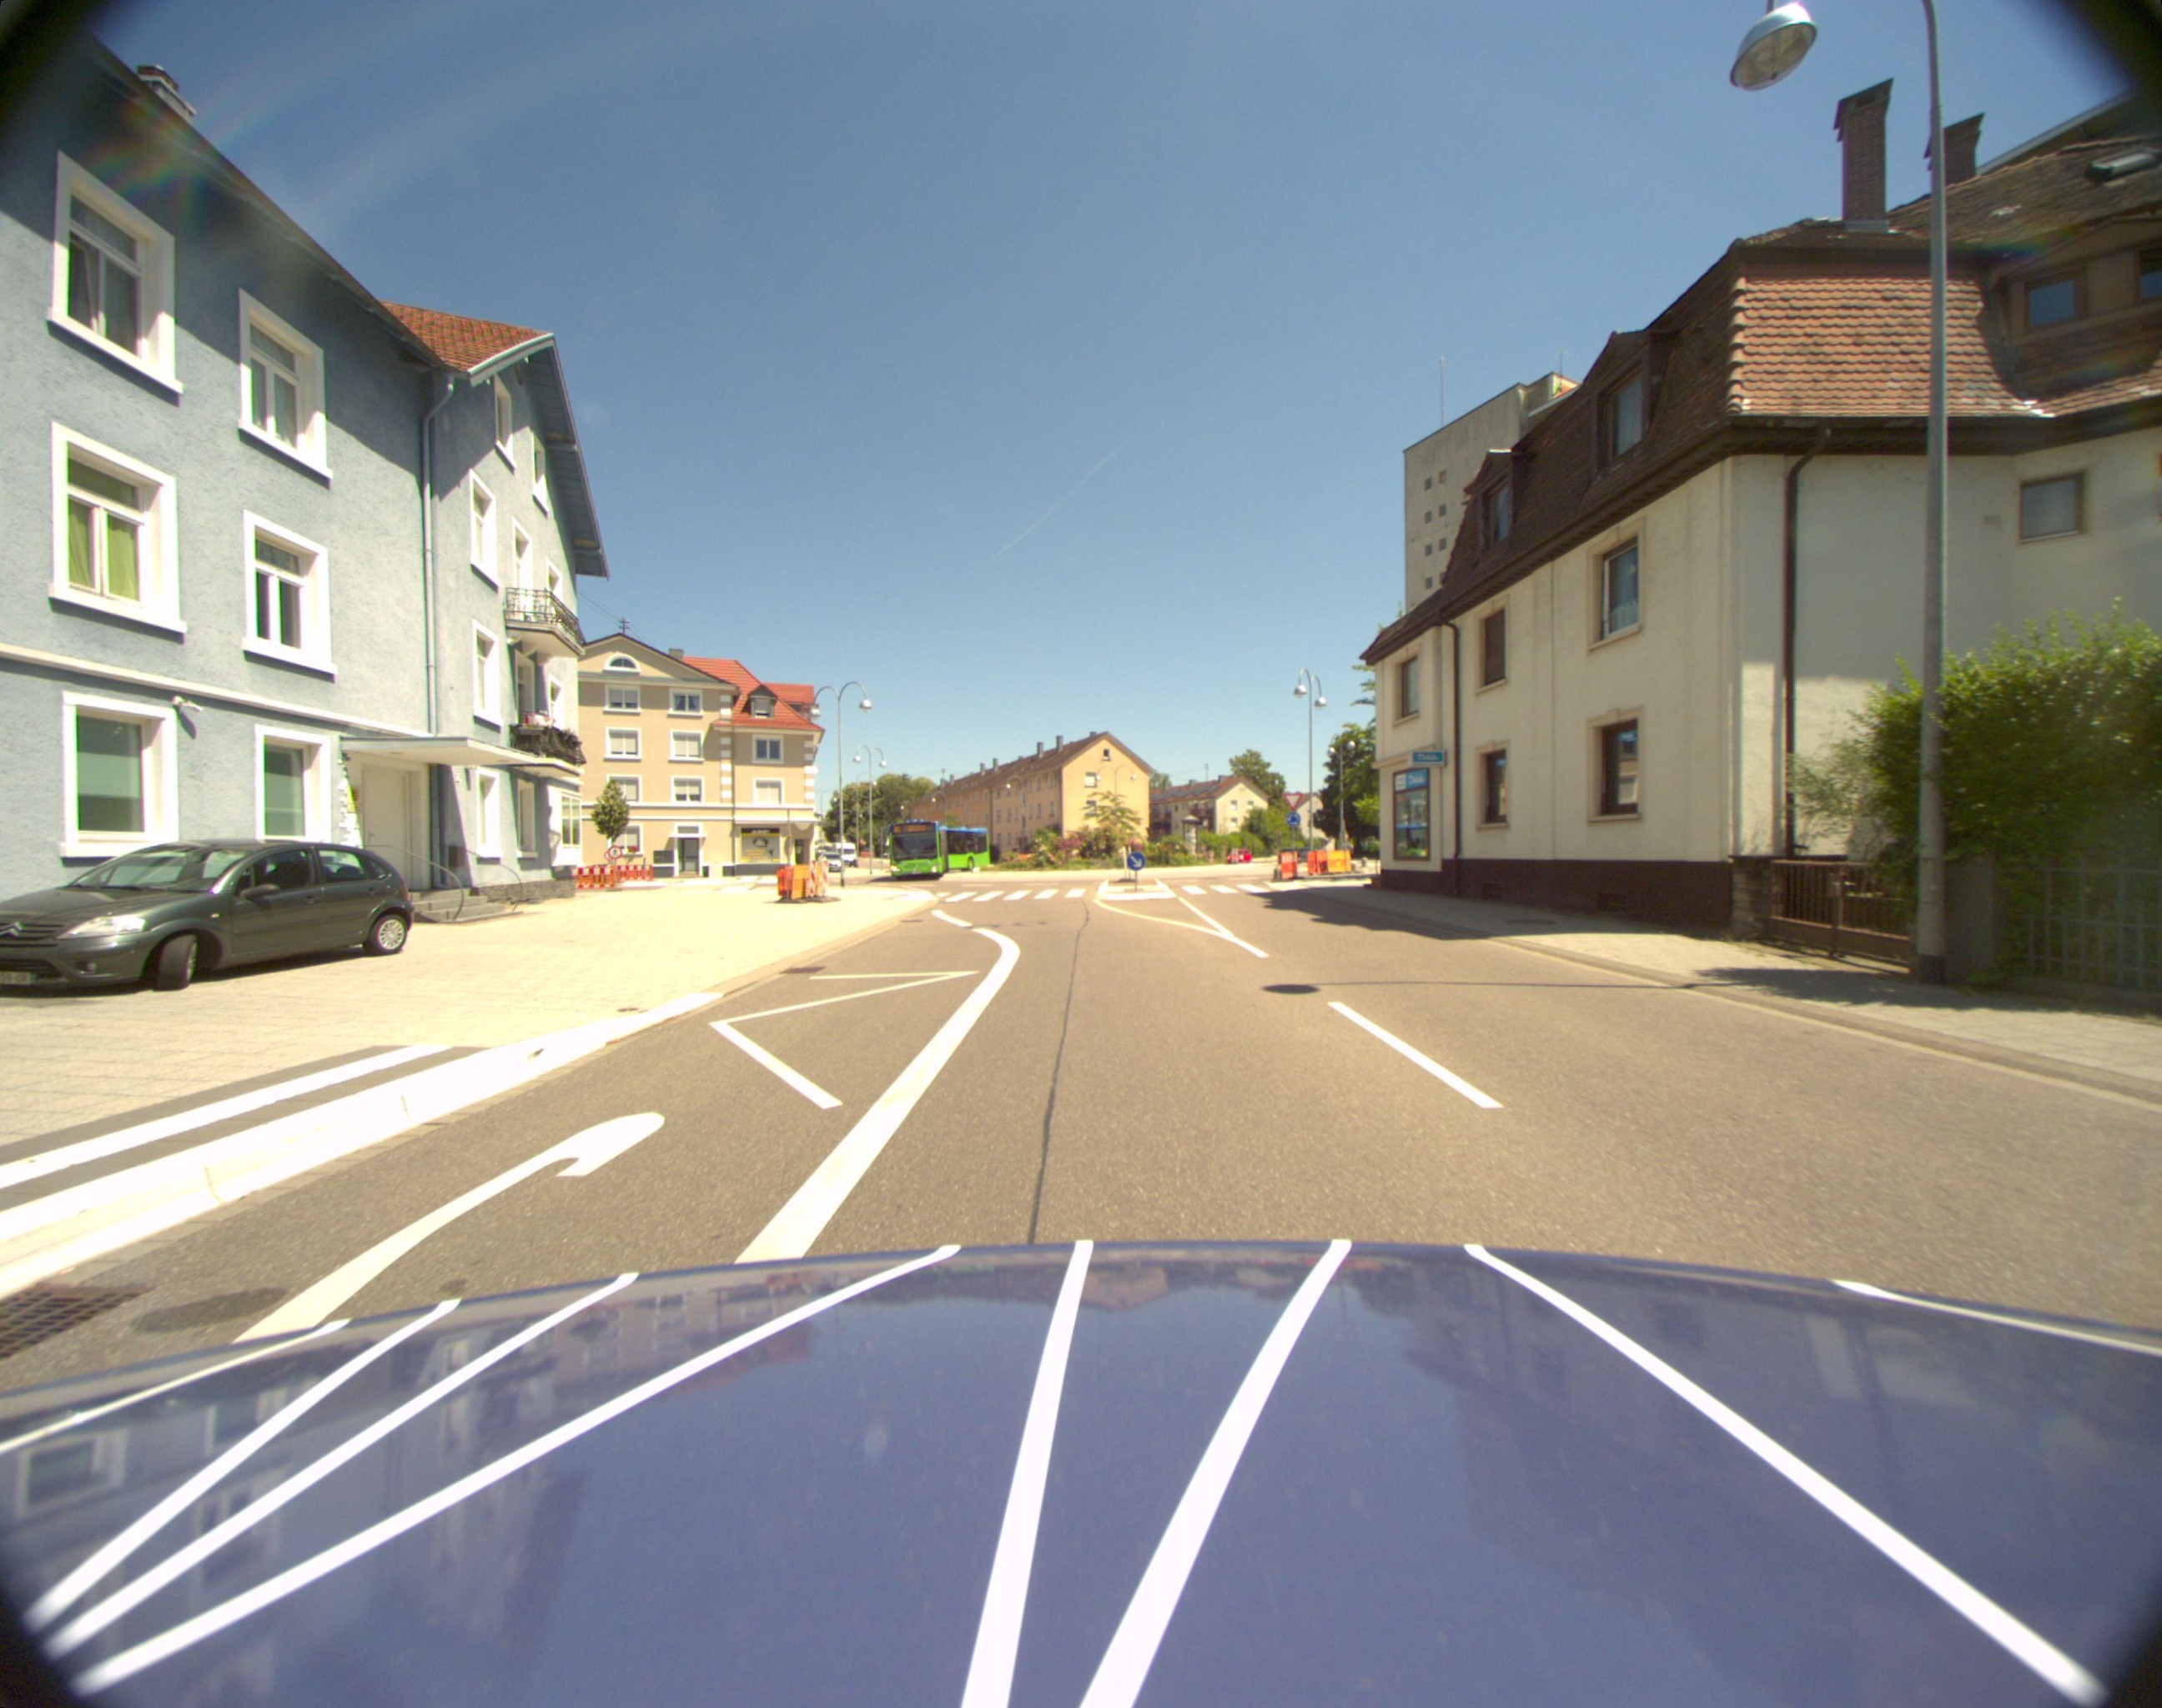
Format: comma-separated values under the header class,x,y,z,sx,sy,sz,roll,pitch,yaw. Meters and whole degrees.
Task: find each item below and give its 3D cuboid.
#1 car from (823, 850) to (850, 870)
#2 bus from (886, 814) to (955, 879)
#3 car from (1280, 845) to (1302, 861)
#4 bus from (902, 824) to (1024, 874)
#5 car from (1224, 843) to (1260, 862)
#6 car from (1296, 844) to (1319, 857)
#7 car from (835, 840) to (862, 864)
class,x,y,z,sx,sy,sz,roll,pitch,yaw
car,-18.420,0.434,57.136,1.829,1.403,3.992,1,1,-19
bus,-8.962,-0.353,43.850,2.913,3.062,12.553,-3,0,-8
car,18.031,-0.097,65.180,1.728,1.288,4.004,-2,1,16
bus,-7.948,-0.434,54.111,2.925,3.044,12.578,-3,0,19
car,15.340,-0.160,72.146,1.731,1.592,3.944,-1,1,39
car,25.018,-0.365,83.951,1.780,1.348,4.061,-1,0,26
car,-24.309,-0.185,79.258,2.344,2.442,5.724,1,0,-20
